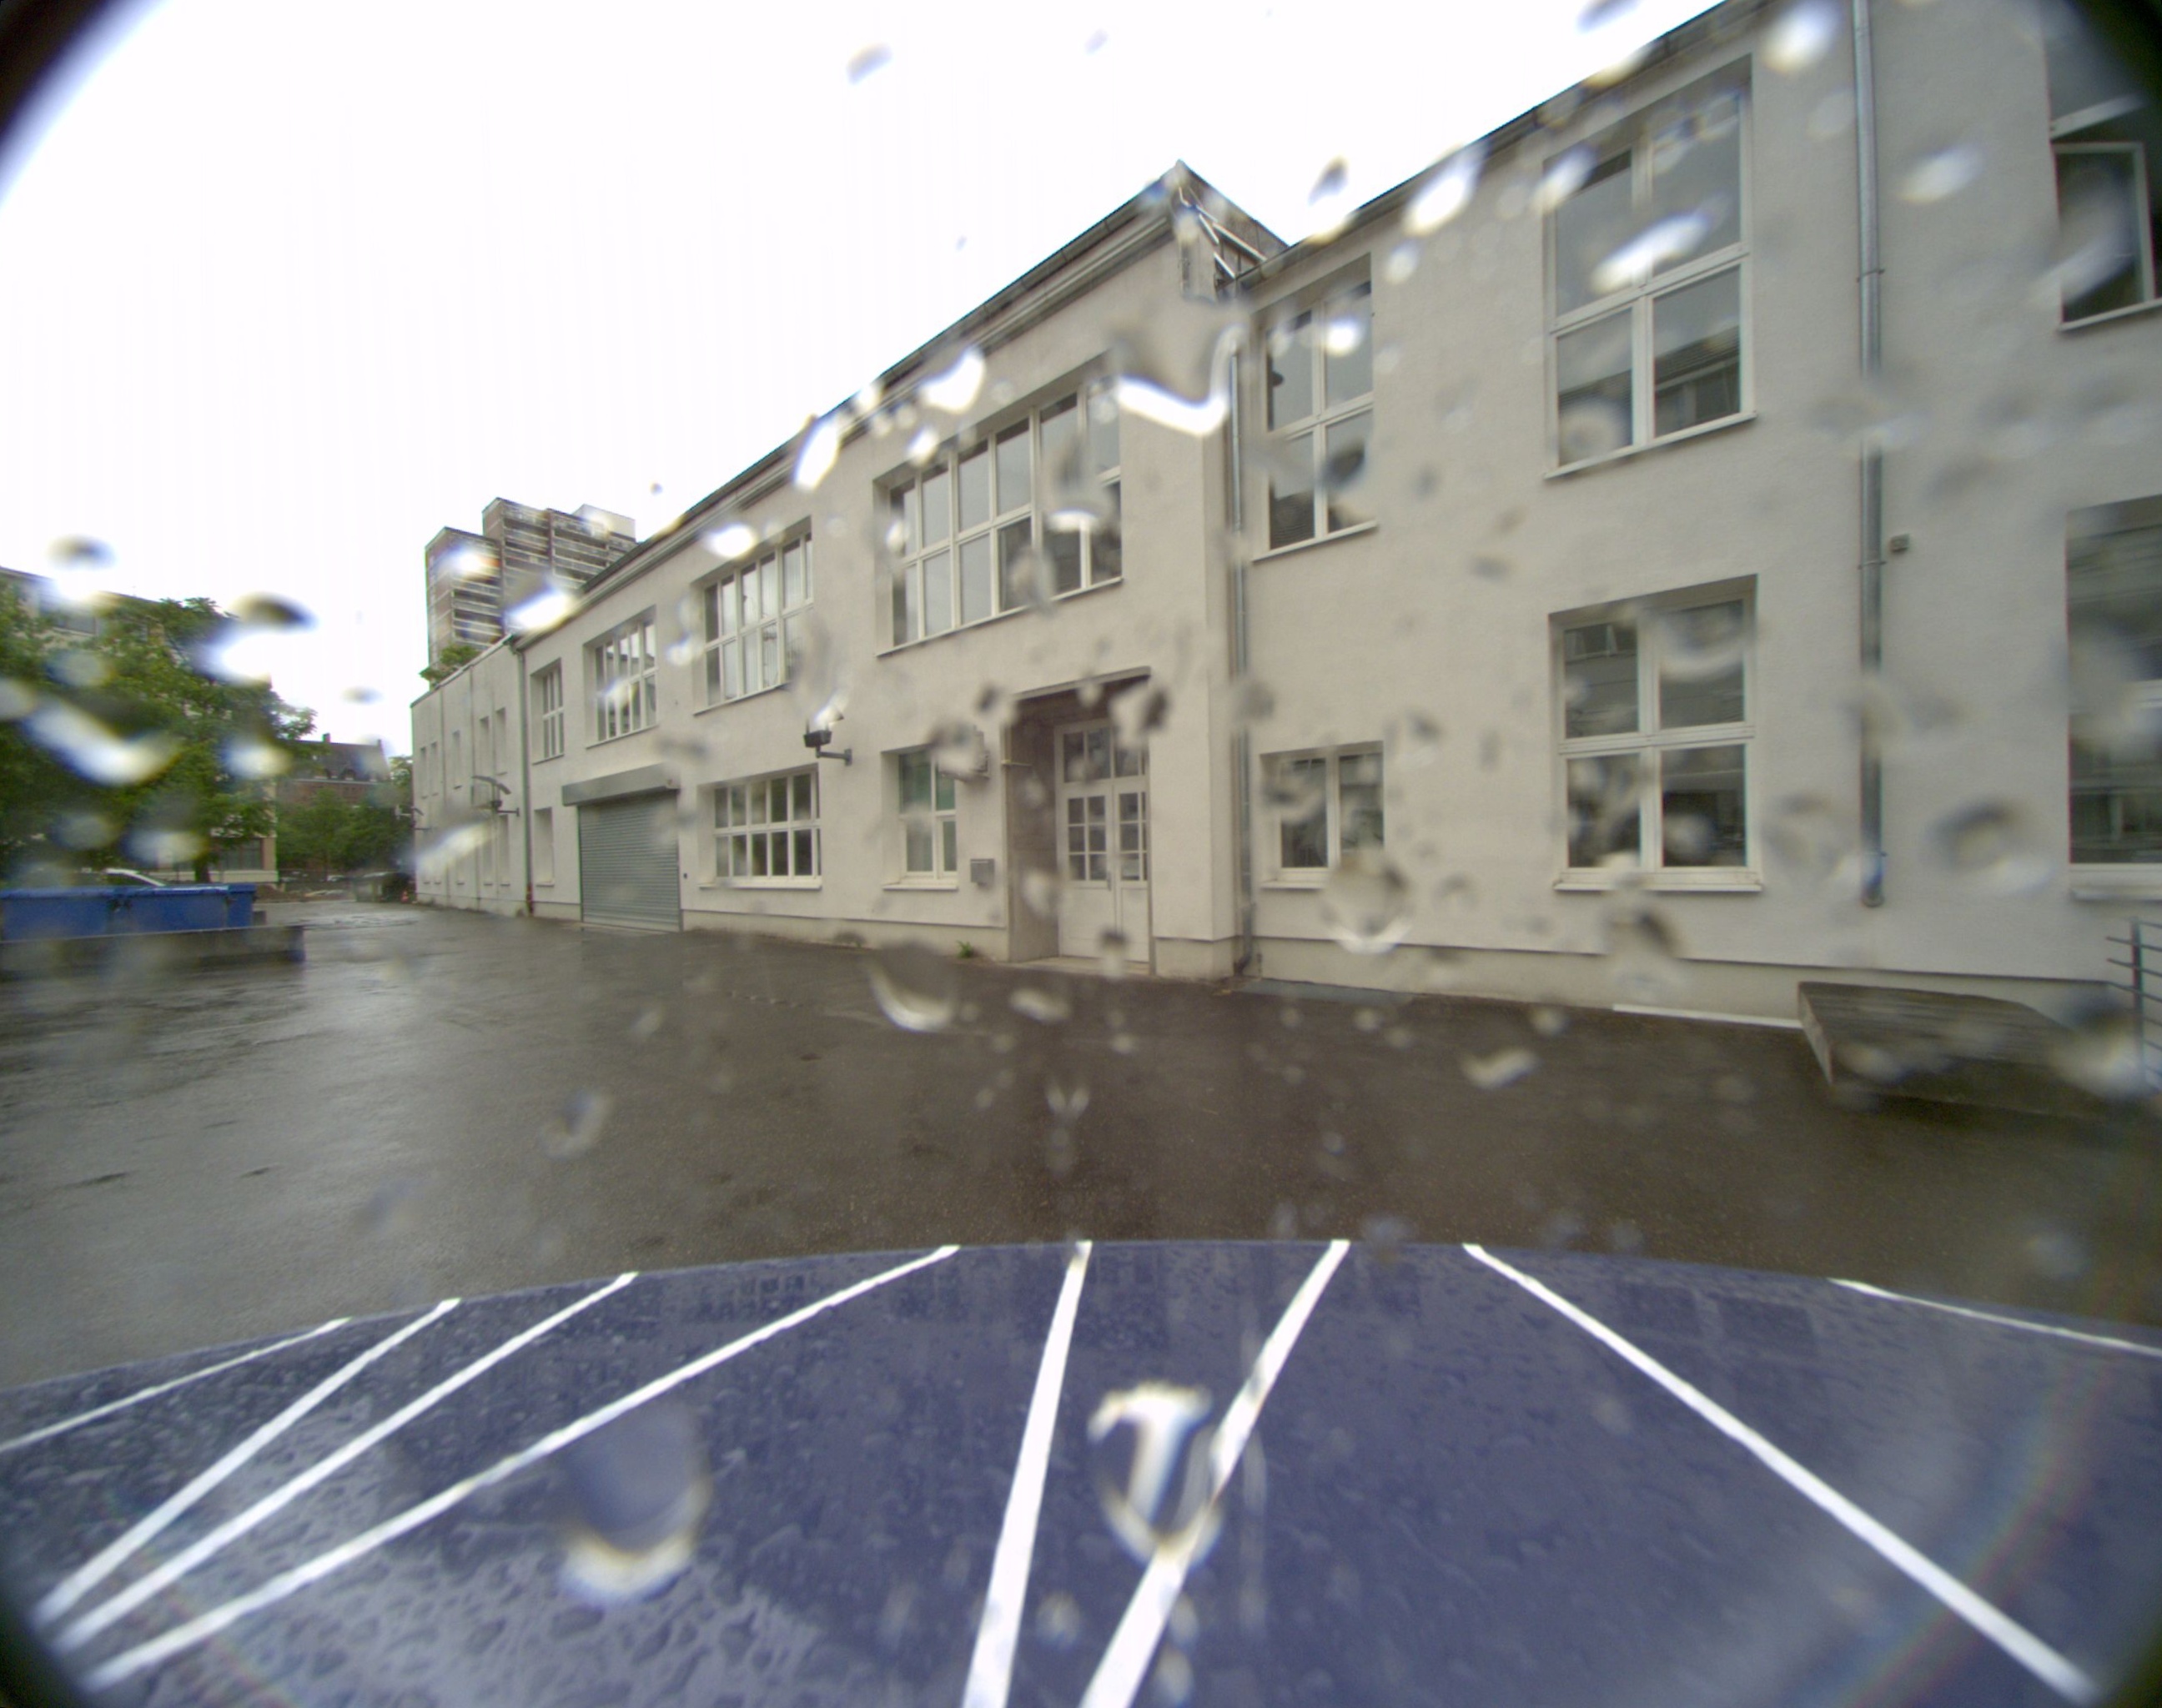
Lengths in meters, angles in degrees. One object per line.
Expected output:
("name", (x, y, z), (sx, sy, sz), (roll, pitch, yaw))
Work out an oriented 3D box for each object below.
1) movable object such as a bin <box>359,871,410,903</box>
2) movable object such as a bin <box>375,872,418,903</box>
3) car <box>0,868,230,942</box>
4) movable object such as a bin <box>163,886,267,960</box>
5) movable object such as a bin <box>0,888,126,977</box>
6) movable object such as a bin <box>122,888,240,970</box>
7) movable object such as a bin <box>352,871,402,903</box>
("movable object such as a bin", (-33.888, 1.601, 36.970), (1.310, 1.440, 1.495), (-3, 0, 35))
("movable object such as a bin", (-32.536, 1.587, 36.136), (1.310, 1.366, 1.190), (-3, 0, 35))
("car", (-30.630, 1.568, 24.135), (2.118, 1.870, 4.706), (-5, -1, 42))
("movable object such as a bin", (-18.136, 1.411, 15.909), (1.900, 1.350, 1.316), (-4, 0, 39))
("movable object such as a bin", (-17.803, 1.335, 13.312), (1.965, 1.350, 1.236), (-4, 0, 39))
("movable object such as a bin", (-16.959, 1.376, 14.336), (1.900, 1.350, 1.316), (-4, 0, 39))
("movable object such as a bin", (-34.983, 1.641, 37.753), (1.310, 1.440, 1.495), (-3, 0, 35))
